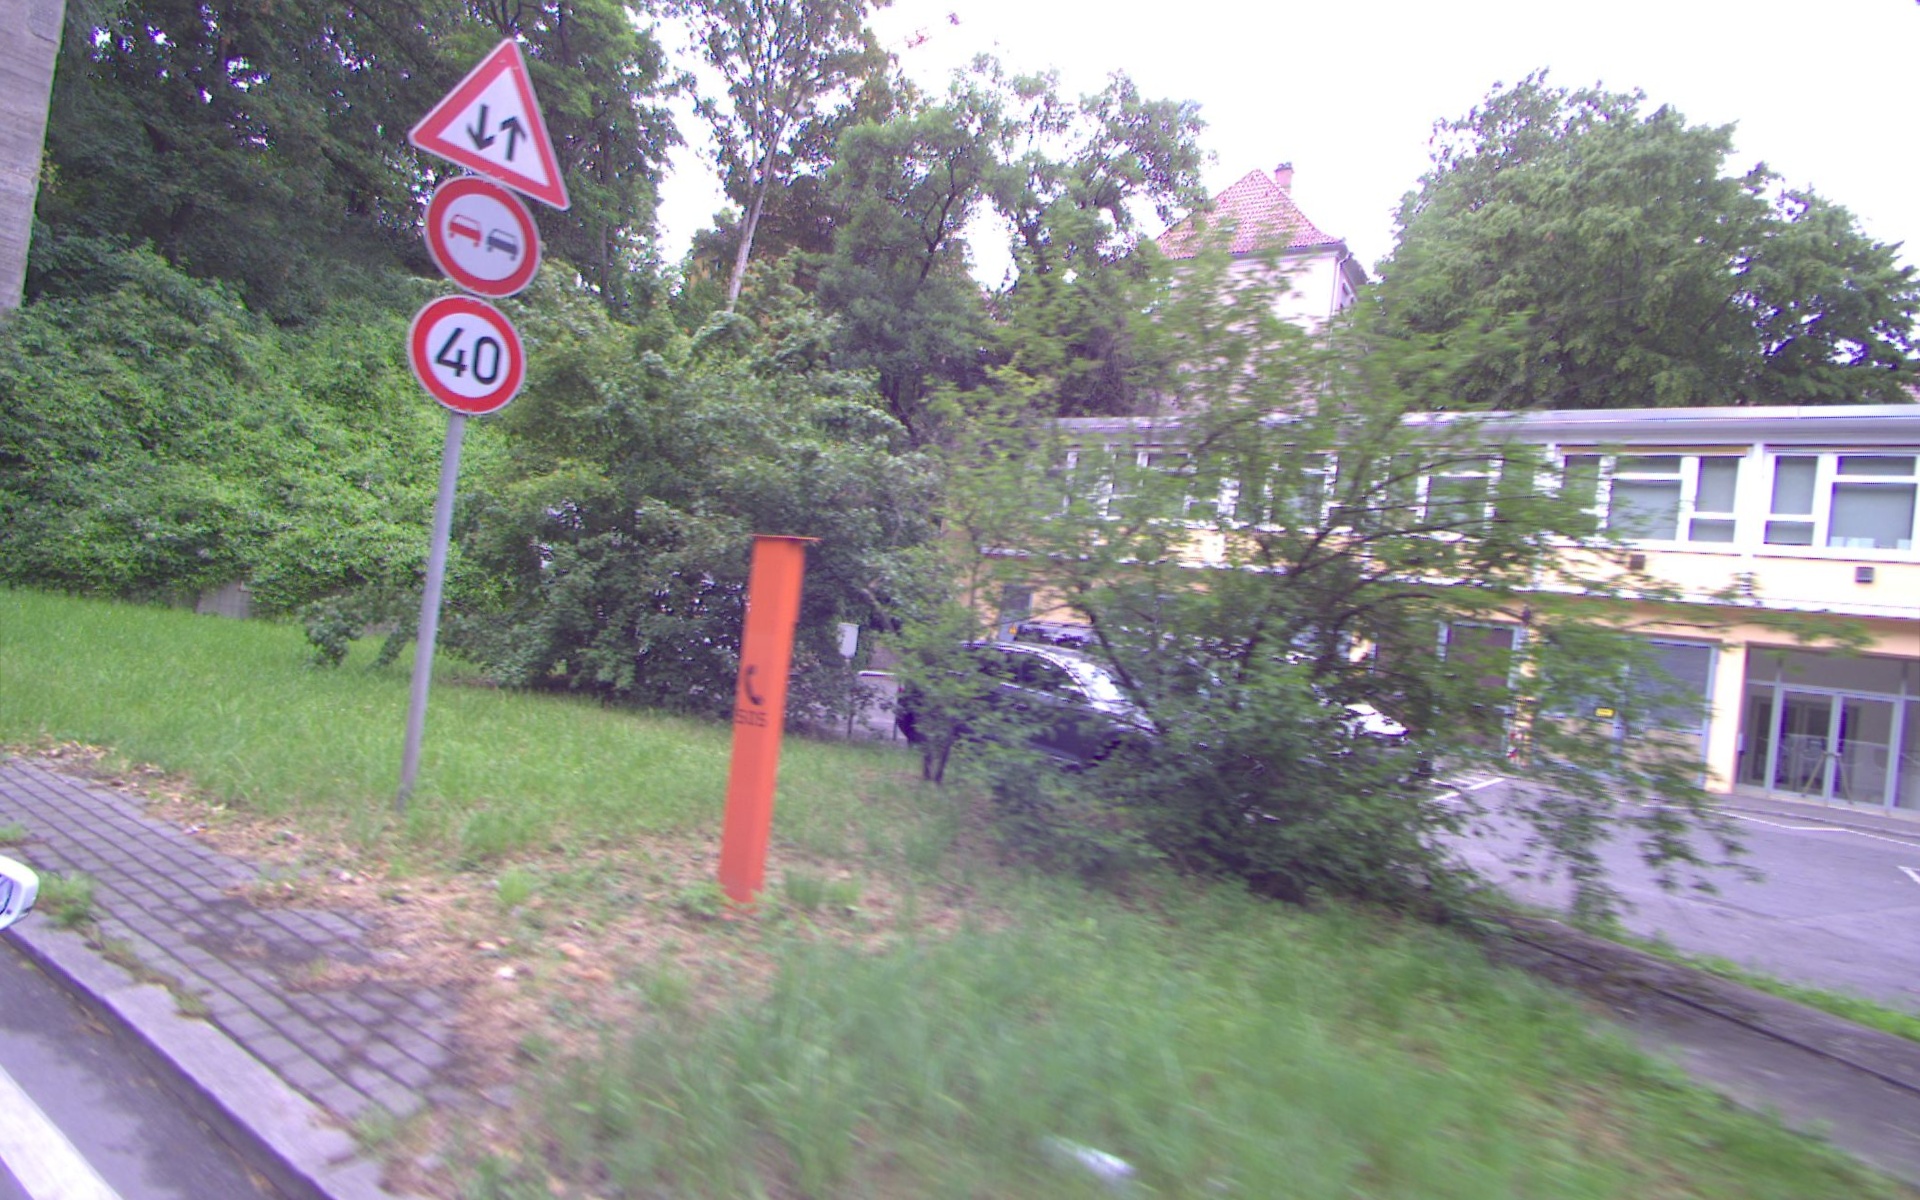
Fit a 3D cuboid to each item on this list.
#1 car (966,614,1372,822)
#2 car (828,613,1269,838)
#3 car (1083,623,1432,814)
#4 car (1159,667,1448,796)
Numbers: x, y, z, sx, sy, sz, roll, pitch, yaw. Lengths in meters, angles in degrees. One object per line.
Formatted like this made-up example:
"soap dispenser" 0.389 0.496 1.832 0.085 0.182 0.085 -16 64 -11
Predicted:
"car" 2.683 1.444 13.442 4.806 1.900 1.859 6 -2 33
"car" 0.829 1.256 11.657 4.815 1.687 1.806 6 0 40
"car" 4.366 1.659 15.069 4.490 2.038 1.858 6 -2 35
"car" 5.830 2.178 17.246 4.257 1.442 1.798 6 -2 35
